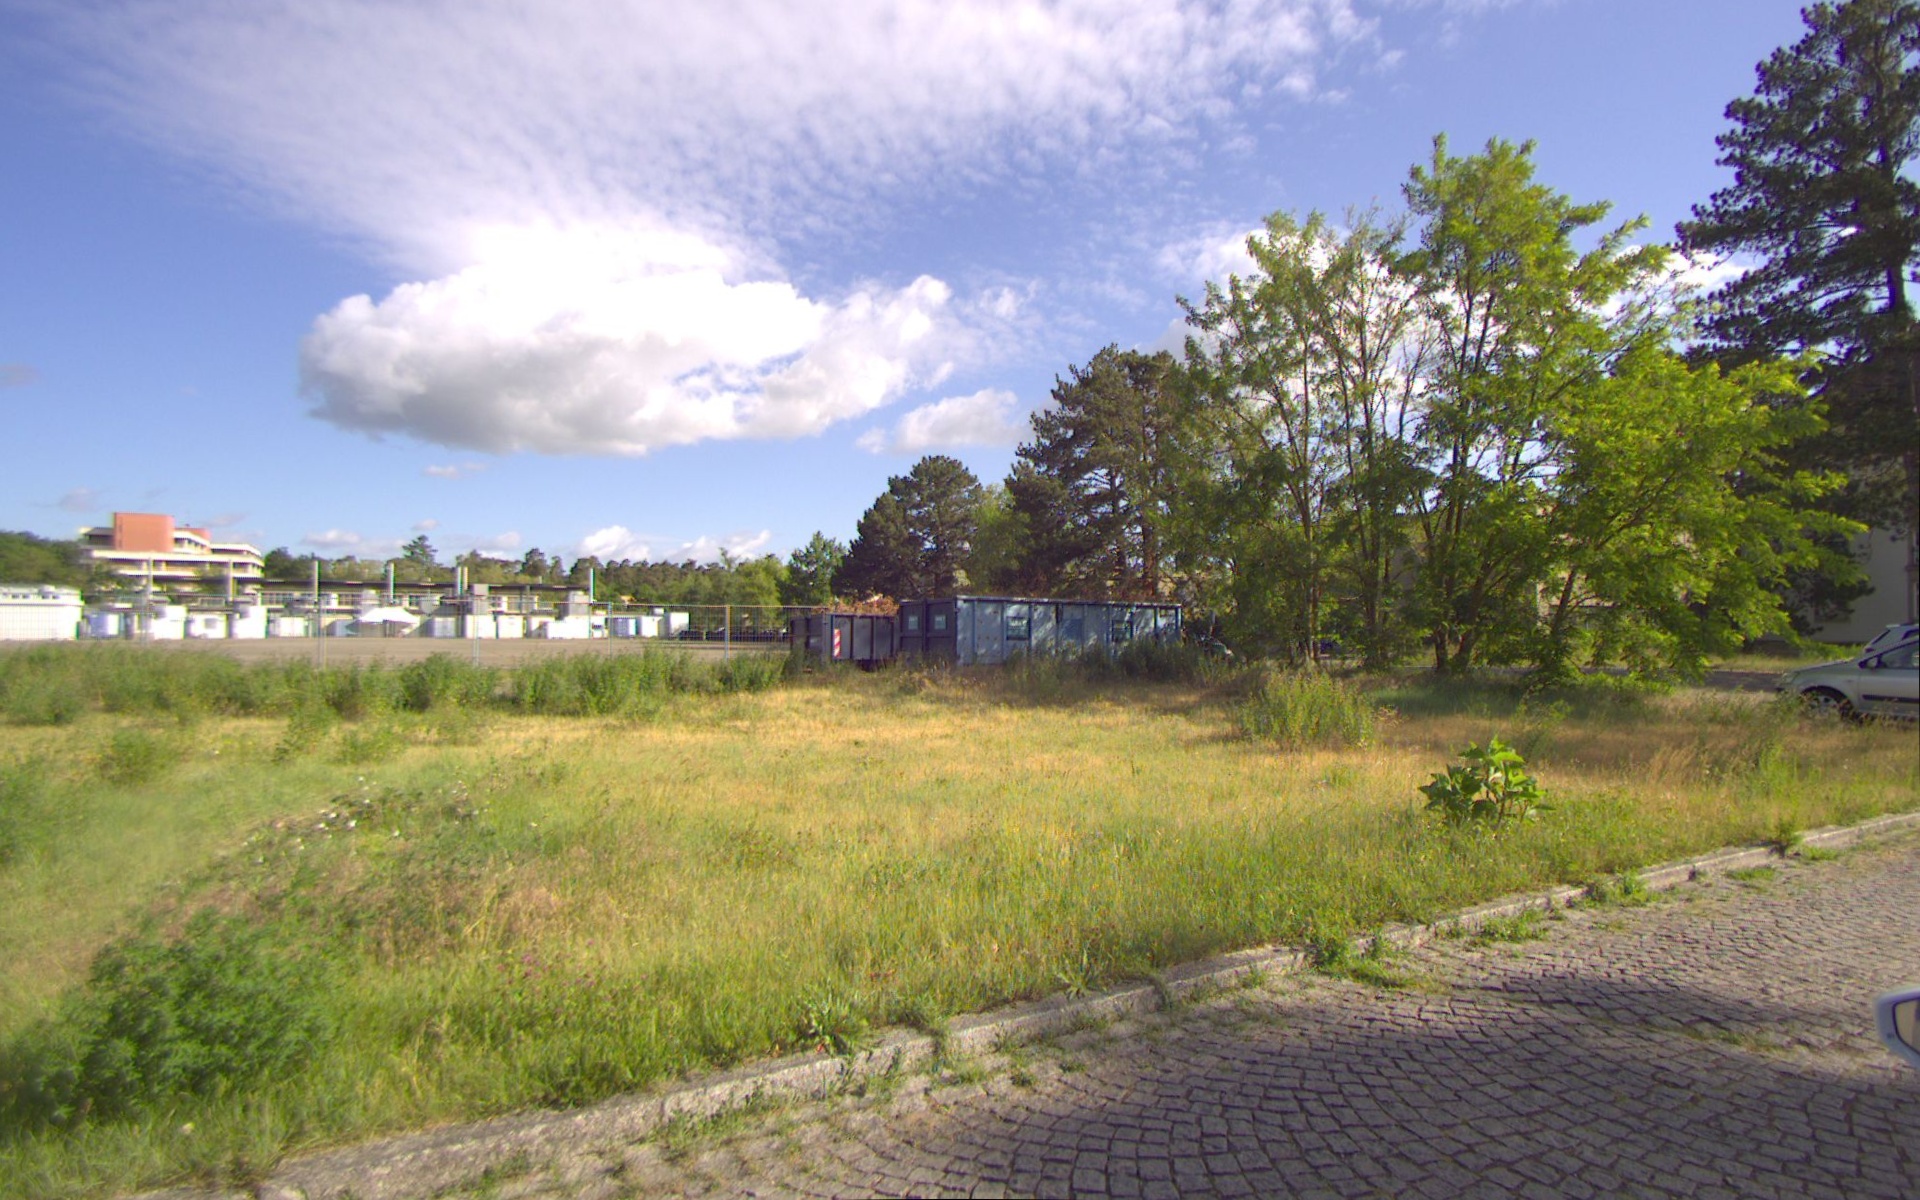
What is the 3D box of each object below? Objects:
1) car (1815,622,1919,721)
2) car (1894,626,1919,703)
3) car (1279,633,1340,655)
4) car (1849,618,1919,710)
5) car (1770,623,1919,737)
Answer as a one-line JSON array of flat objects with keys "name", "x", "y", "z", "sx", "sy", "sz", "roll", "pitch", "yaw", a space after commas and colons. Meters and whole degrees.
[{"name": "car", "x": 16.202, "y": 1.175, "z": 15.705, "sx": 1.783, "sy": 1.500, "sz": 3.964, "roll": 1, "pitch": 1, "yaw": -32}, {"name": "car", "x": 20.529, "y": 1.325, "z": 18.687, "sx": 1.810, "sy": 1.488, "sz": 4.309, "roll": 1, "pitch": 1, "yaw": -32}, {"name": "car", "x": 24.299, "y": 3.046, "z": 69.883, "sx": 3.952, "sy": 1.452, "sz": 1.894, "roll": 2, "pitch": -2, "yaw": -30}, {"name": "car", "x": 18.509, "y": 1.198, "z": 17.575, "sx": 1.865, "sy": 1.614, "sz": 4.057, "roll": 1, "pitch": 1, "yaw": -32}, {"name": "car", "x": 14.064, "y": 1.149, "z": 14.220, "sx": 1.628, "sy": 1.507, "sz": 3.725, "roll": 1, "pitch": 1, "yaw": -32}]
